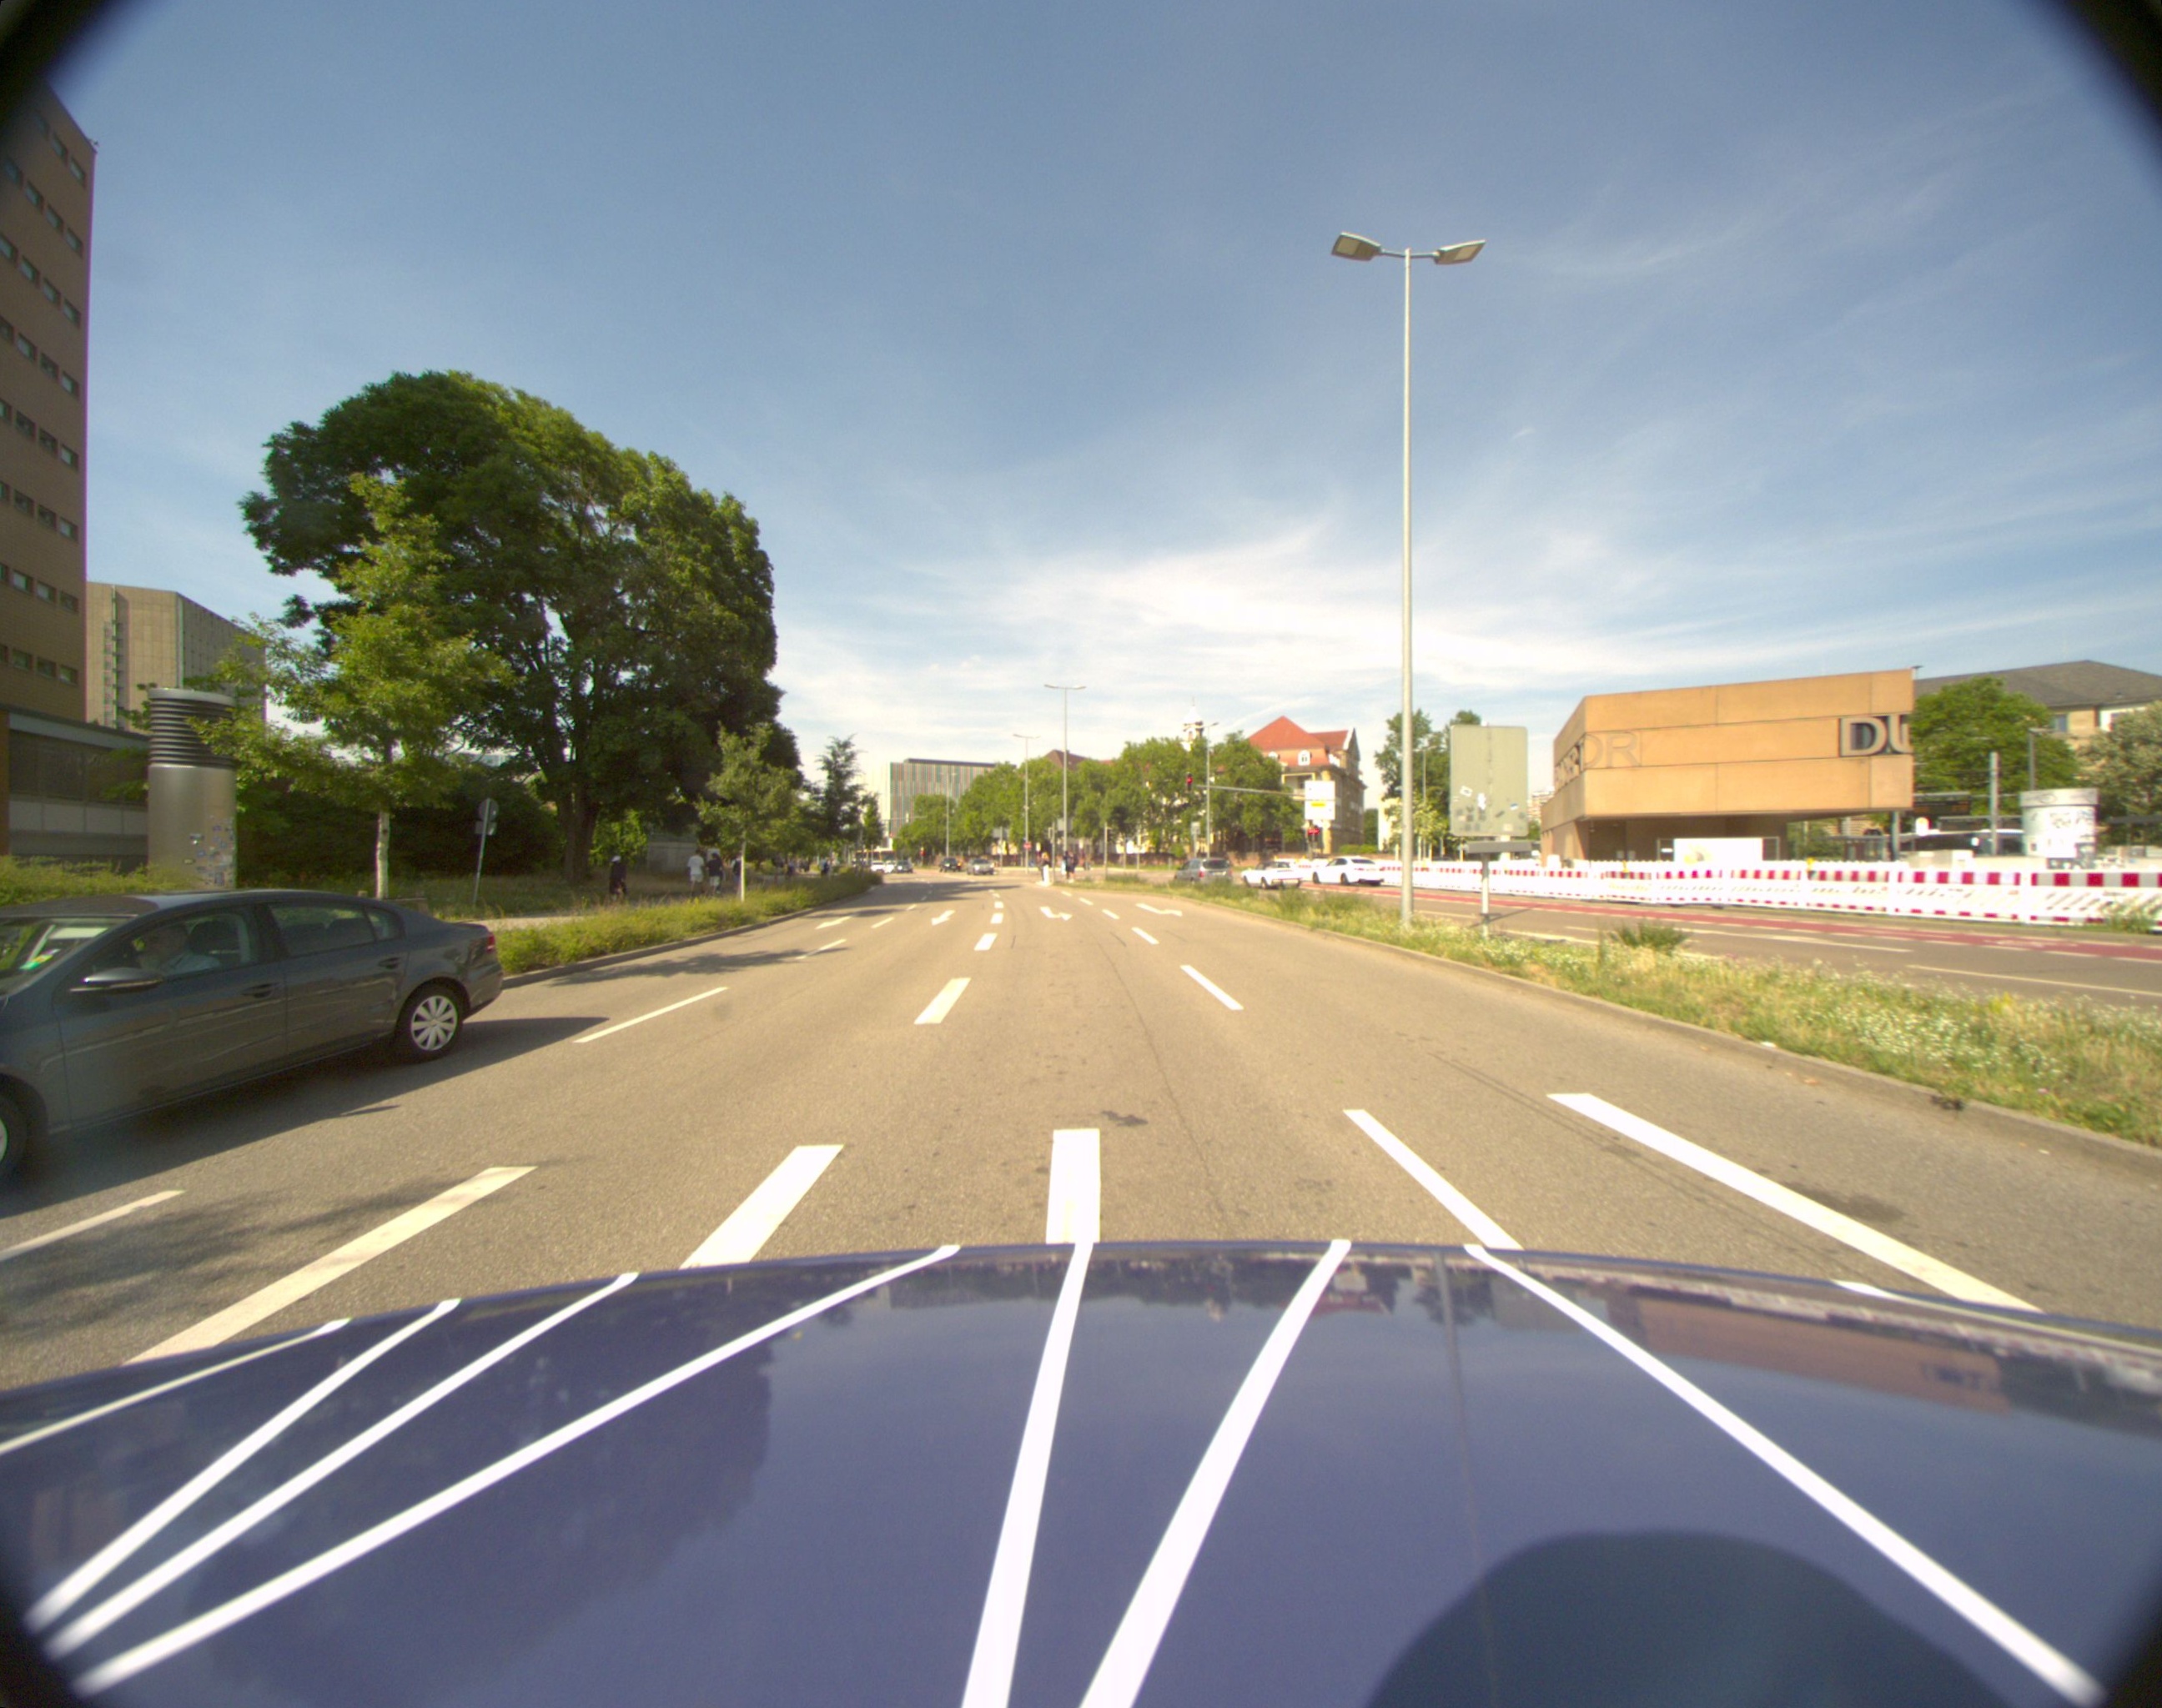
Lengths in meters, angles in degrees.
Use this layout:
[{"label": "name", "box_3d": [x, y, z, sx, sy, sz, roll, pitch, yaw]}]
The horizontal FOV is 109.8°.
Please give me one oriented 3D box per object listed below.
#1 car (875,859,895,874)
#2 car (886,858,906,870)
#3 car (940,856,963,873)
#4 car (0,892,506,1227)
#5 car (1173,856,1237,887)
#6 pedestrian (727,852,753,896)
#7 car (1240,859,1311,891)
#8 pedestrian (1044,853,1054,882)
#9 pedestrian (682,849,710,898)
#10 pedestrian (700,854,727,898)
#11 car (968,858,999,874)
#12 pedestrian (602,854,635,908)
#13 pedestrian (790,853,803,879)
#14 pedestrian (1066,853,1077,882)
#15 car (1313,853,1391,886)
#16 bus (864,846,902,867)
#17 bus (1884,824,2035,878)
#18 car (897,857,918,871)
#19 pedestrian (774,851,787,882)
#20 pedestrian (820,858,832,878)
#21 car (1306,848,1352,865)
[{"label": "car", "box_3d": [-21.215, 1.366, 82.057, 1.684, 1.466, 3.753, -3, 1, -20]}, {"label": "car", "box_3d": [-22.116, 1.166, 90.842, 1.653, 1.416, 4.112, -3, 1, -22]}, {"label": "car", "box_3d": [-14.374, 1.143, 84.231, 1.761, 1.719, 4.106, -3, 1, -20]}, {"label": "car", "box_3d": [-6.085, 1.106, 4.669, 1.635, 1.427, 4.528, -1, 1, -1]}, {"label": "car", "box_3d": [5.664, 0.761, 35.149, 1.600, 1.279, 3.996, -2, 1, -10]}, {"label": "pedestrian", "box_3d": [-13.230, 0.767, 29.458, 0.643, 1.664, 0.752, 1, 1, 1]}, {"label": "car", "box_3d": [8.800, 0.910, 34.779, 1.600, 1.279, 3.996, -2, 1, -10]}, {"label": "pedestrian", "box_3d": [-1.859, 0.794, 43.721, 0.541, 1.664, 0.752, 0, 0, 1]}, {"label": "pedestrian", "box_3d": [-14.624, 0.744, 28.870, 0.643, 1.827, 0.731, 1, 1, 1]}, {"label": "pedestrian", "box_3d": [-13.935, 0.823, 28.844, 0.643, 1.617, 0.731, 1, 1, 1]}, {"label": "car", "box_3d": [-9.042, 1.093, 70.291, 1.836, 1.427, 4.090, -3, 1, -22]}, {"label": "pedestrian", "box_3d": [-14.701, 0.846, 24.154, 0.592, 1.654, 0.731, 1, 1, 1]}, {"label": "pedestrian", "box_3d": [-16.365, 0.682, 43.719, 0.644, 1.438, 0.568, 1, 1, -20]}, {"label": "pedestrian", "box_3d": [-0.561, 0.757, 44.190, 0.643, 1.664, 0.752, 0, 1, 1]}, {"label": "car", "box_3d": [13.122, 0.712, 37.029, 1.804, 1.412, 3.996, -2, 1, -10]}, {"label": "bus", "box_3d": [-30.815, 0.420, 117.869, 2.801, 3.020, 12.121, 0, 0, -29]}, {"label": "bus", "box_3d": [59.563, -0.201, 52.020, 2.751, 3.303, 11.811, 0, 0, 28]}, {"label": "car", "box_3d": [-19.586, 1.127, 85.635, 1.653, 1.416, 4.112, -3, 1, -22]}, {"label": "pedestrian", "box_3d": [-17.173, 0.705, 43.394, 0.644, 1.754, 0.474, 1, 1, -20]}, {"label": "pedestrian", "box_3d": [-14.978, 0.812, 44.642, 0.644, 1.125, 0.751, 1, 1, -15]}, {"label": "car", "box_3d": [24.125, 0.229, 73.796, 4.117, 1.435, 1.756, -3, 1, -24]}]
